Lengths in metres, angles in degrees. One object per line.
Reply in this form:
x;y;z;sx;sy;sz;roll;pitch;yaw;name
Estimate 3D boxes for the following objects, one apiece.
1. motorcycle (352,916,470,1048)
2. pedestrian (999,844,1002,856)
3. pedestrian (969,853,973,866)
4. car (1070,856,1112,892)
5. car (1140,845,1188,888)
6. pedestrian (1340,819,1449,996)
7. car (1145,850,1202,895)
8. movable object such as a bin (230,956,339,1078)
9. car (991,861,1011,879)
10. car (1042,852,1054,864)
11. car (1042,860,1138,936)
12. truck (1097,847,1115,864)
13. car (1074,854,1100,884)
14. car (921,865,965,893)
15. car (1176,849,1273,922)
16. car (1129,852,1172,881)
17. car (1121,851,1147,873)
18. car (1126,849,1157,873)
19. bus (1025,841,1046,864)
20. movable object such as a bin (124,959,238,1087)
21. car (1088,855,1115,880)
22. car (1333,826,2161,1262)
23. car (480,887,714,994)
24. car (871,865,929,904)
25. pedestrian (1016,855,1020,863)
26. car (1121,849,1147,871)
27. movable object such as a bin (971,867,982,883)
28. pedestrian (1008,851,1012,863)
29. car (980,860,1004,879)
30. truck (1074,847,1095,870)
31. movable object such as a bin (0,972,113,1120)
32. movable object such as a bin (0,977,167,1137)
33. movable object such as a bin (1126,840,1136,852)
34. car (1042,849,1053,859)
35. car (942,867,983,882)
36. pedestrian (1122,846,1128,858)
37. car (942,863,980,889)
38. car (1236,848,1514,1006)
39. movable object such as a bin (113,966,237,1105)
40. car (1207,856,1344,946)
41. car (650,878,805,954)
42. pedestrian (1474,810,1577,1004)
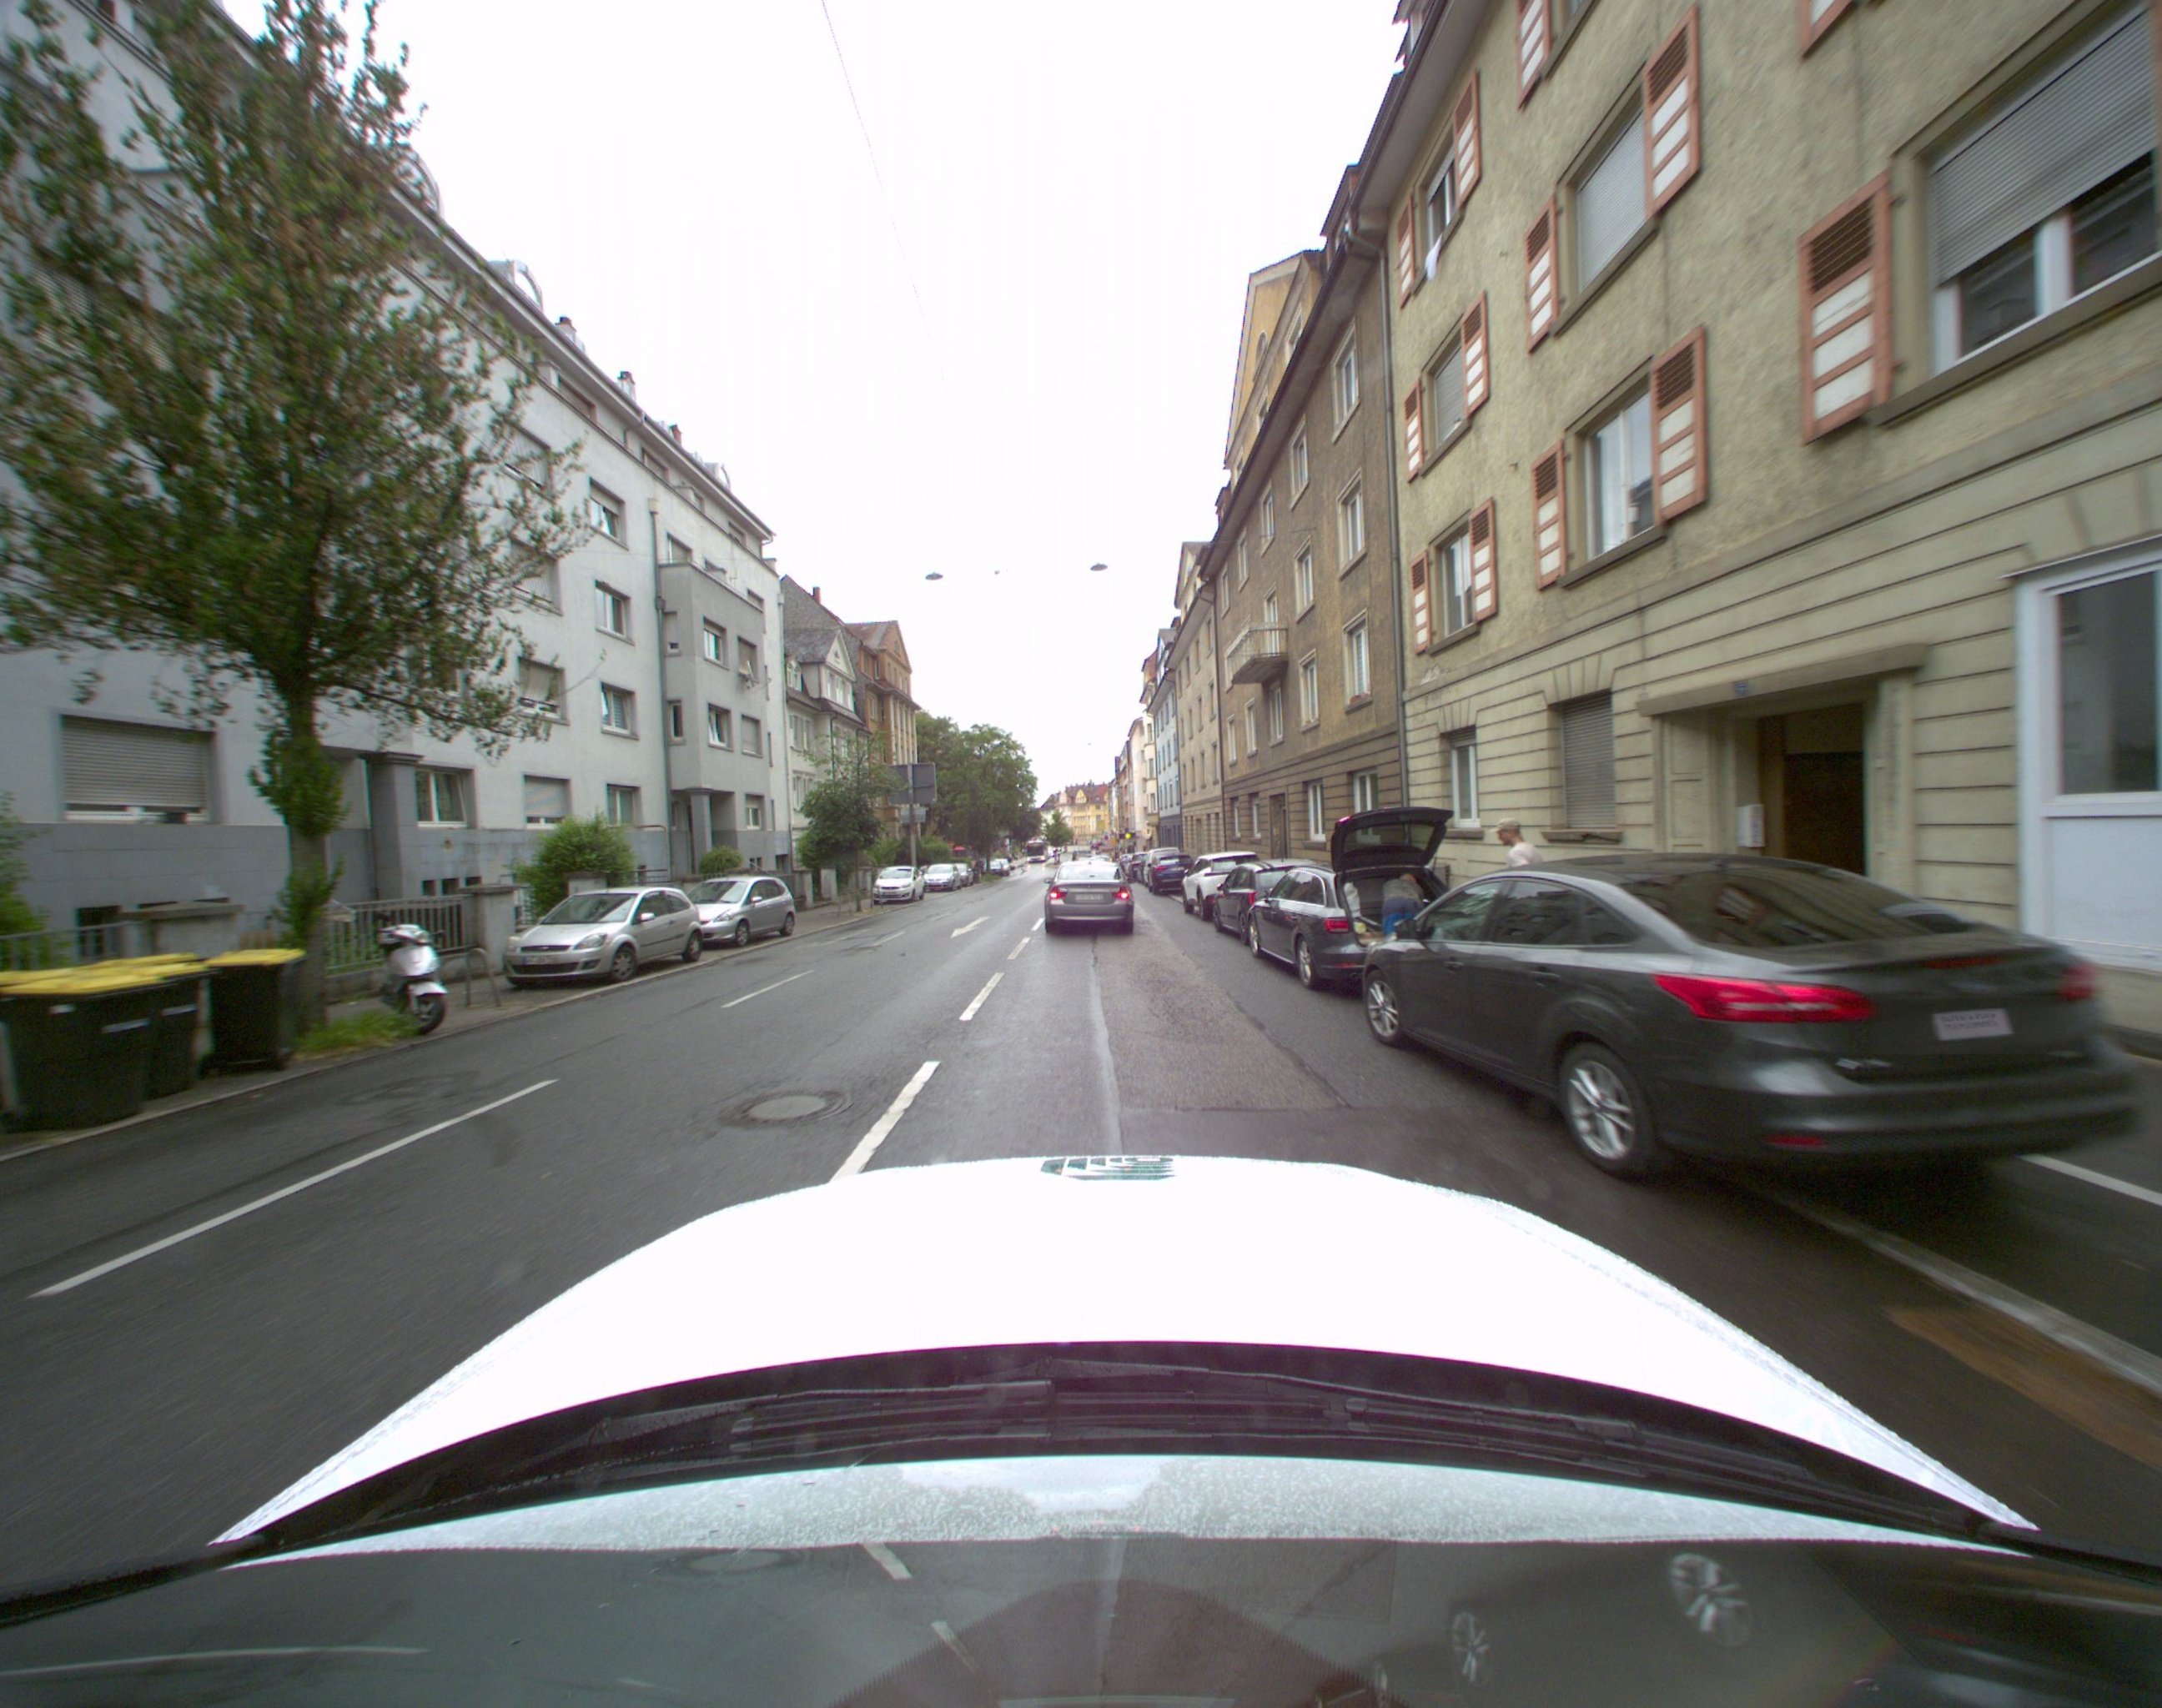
-7.821;1.420;9.482;1.788;1.315;0.746;-3;0;41;motorcycle
-11.969;-0.619;121.150;0.542;1.790;0.507;0;-1;-9;pedestrian
-15.040;0.717;111.383;0.464;1.790;0.543;0;-1;-6;pedestrian
0.379;0.822;33.983;1.597;1.420;3.285;0;-1;-2;car
3.892;0.552;38.747;1.785;1.817;4.079;-4;0;0;car
3.250;0.547;8.509;0.628;1.690;0.635;-9;-2;2;pedestrian
3.600;0.676;32.408;1.784;1.548;4.226;-4;0;1;car
-7.516;1.519;7.705;0.522;1.058;0.484;0;-1;1;movable object such as a bin
-7.298;1.459;74.562;1.628;1.454;3.835;-2;0;-3;car
-5.849;0.678;144.117;1.988;2.014;3.998;-1;-1;-1;car
0.178;0.838;16.603;1.750;1.362;3.164;-1;-1;0;car
3.320;0.211;110.128;2.209;2.117;4.649;1;0;-1;truck
0.390;1.023;56.830;1.700;2.014;3.997;0;-1;-2;car
-7.518;1.345;44.634;1.677;1.390;3.910;-2;0;1;car
3.504;0.724;20.541;1.627;1.638;4.193;0;0;-1;car
3.831;0.663;45.582;1.835;1.409;4.386;-5;0;-1;car
4.301;0.644;66.679;1.812;1.557;4.293;-4;0;1;car
4.093;0.432;55.609;1.724;1.429;3.973;-5;0;0;car
-6.820;-0.168;123.512;2.673;3.201;11.951;0;-1;-1;bus
-8.213;1.526;7.451;0.471;1.058;0.482;0;-1;-9;movable object such as a bin
1.181;0.757;45.350;1.430;1.357;3.763;0;-1;2;car
3.207;0.708;5.069;1.773;1.479;4.185;-3;-1;-3;car
-7.915;1.328;13.783;1.596;1.396;3.886;-2;-1;0;car
-7.583;1.253;34.429;1.641;1.508;3.794;-2;-1;-1;car
-10.388;0.803;133.594;0.617;1.378;0.545;0;-1;1;pedestrian
3.914;0.414;60.378;1.578;1.429;3.594;-5;0;0;car
-7.151;1.462;55.728;0.627;1.058;0.600;-3;-1;0;movable object such as a bin
-10.259;0.490;117.794;0.542;1.709;0.465;0;-1;-6;pedestrian
-7.613;1.295;69.745;1.649;1.454;3.940;-3;0;-1;car
0.346;0.521;89.853;2.210;2.544;4.778;0;-1;-1;truck
-8.362;1.499;6.442;0.822;1.058;0.483;-1;-1;1;movable object such as a bin
-7.457;1.477;6.021;0.822;1.058;0.483;0;-1;1;movable object such as a bin
7.174;-1.138;117.226;1.119;1.702;1.432;-3;-1;-2;movable object such as a bin
-6.571;0.014;159.468;1.987;2.014;3.998;0;-1;-1;car
-11.878;2.083;81.765;3.804;1.390;1.742;-1;-1;-1;car
6.245;-0.300;116.129;0.746;1.661;0.756;0;-1;7;pedestrian
-7.413;1.335;50.636;1.677;1.390;3.936;-4;0;1;car
3.370;0.754;10.409;1.772;1.479;4.585;-3;-1;-1;car
-7.605;1.504;6.852;0.471;1.058;0.482;0;-1;-9;movable object such as a bin
3.496;0.790;15.277;1.627;1.479;3.733;0;0;-1;car
-7.953;1.342;18.743;1.593;1.451;3.891;-2;-1;4;car
4.320;0.503;7.945;0.704;1.787;0.691;-5;-1;28;pedestrian
